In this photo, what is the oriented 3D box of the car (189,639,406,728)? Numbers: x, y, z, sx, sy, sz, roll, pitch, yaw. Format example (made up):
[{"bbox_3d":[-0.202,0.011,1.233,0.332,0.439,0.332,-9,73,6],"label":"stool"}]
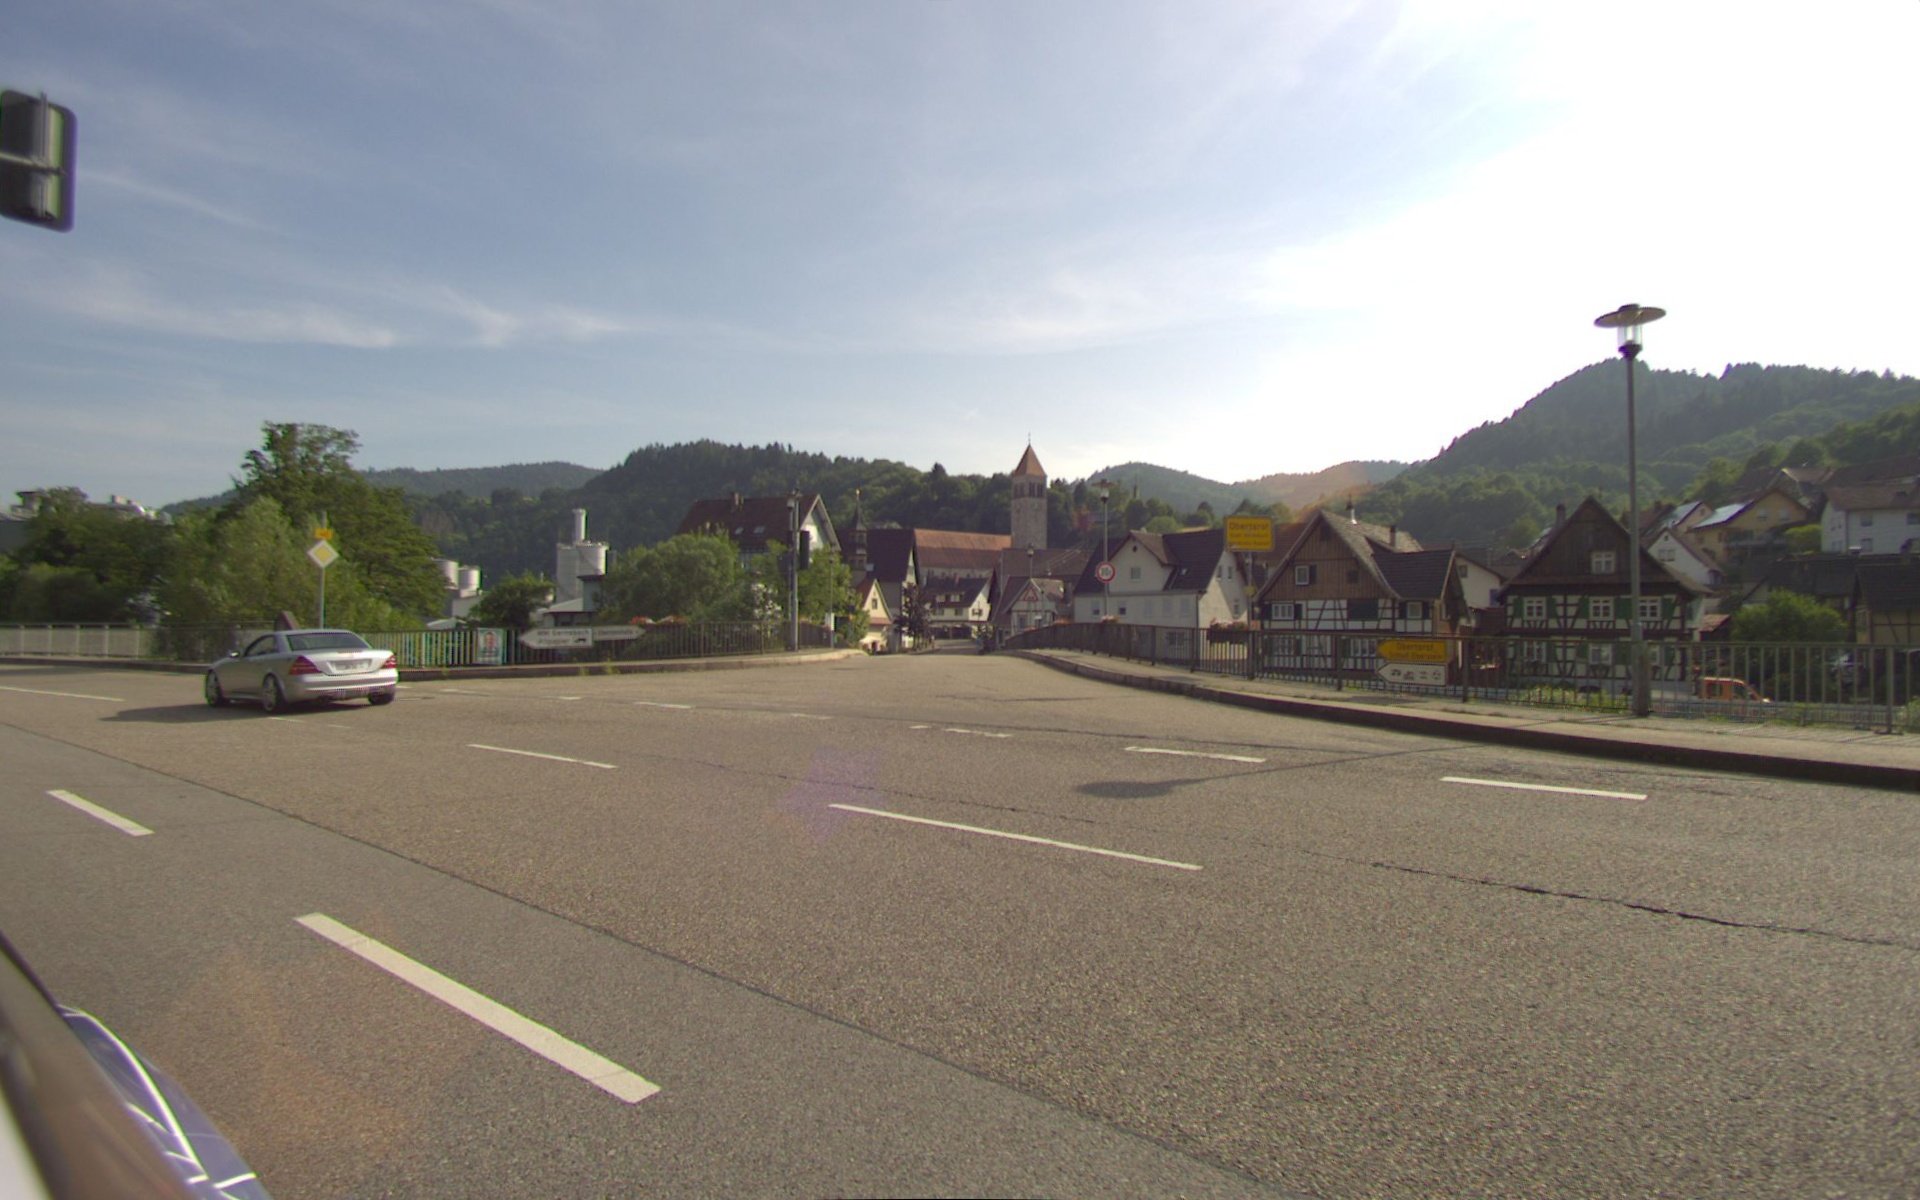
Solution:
[{"bbox_3d":[-10.851,1.281,16.490,4.085,1.241,1.630,-2,-2,36],"label":"car"}]

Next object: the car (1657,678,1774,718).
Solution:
[{"bbox_3d":[37.394,4.833,50.255,4.532,1.705,1.480,-1,-1,34],"label":"car"}]
